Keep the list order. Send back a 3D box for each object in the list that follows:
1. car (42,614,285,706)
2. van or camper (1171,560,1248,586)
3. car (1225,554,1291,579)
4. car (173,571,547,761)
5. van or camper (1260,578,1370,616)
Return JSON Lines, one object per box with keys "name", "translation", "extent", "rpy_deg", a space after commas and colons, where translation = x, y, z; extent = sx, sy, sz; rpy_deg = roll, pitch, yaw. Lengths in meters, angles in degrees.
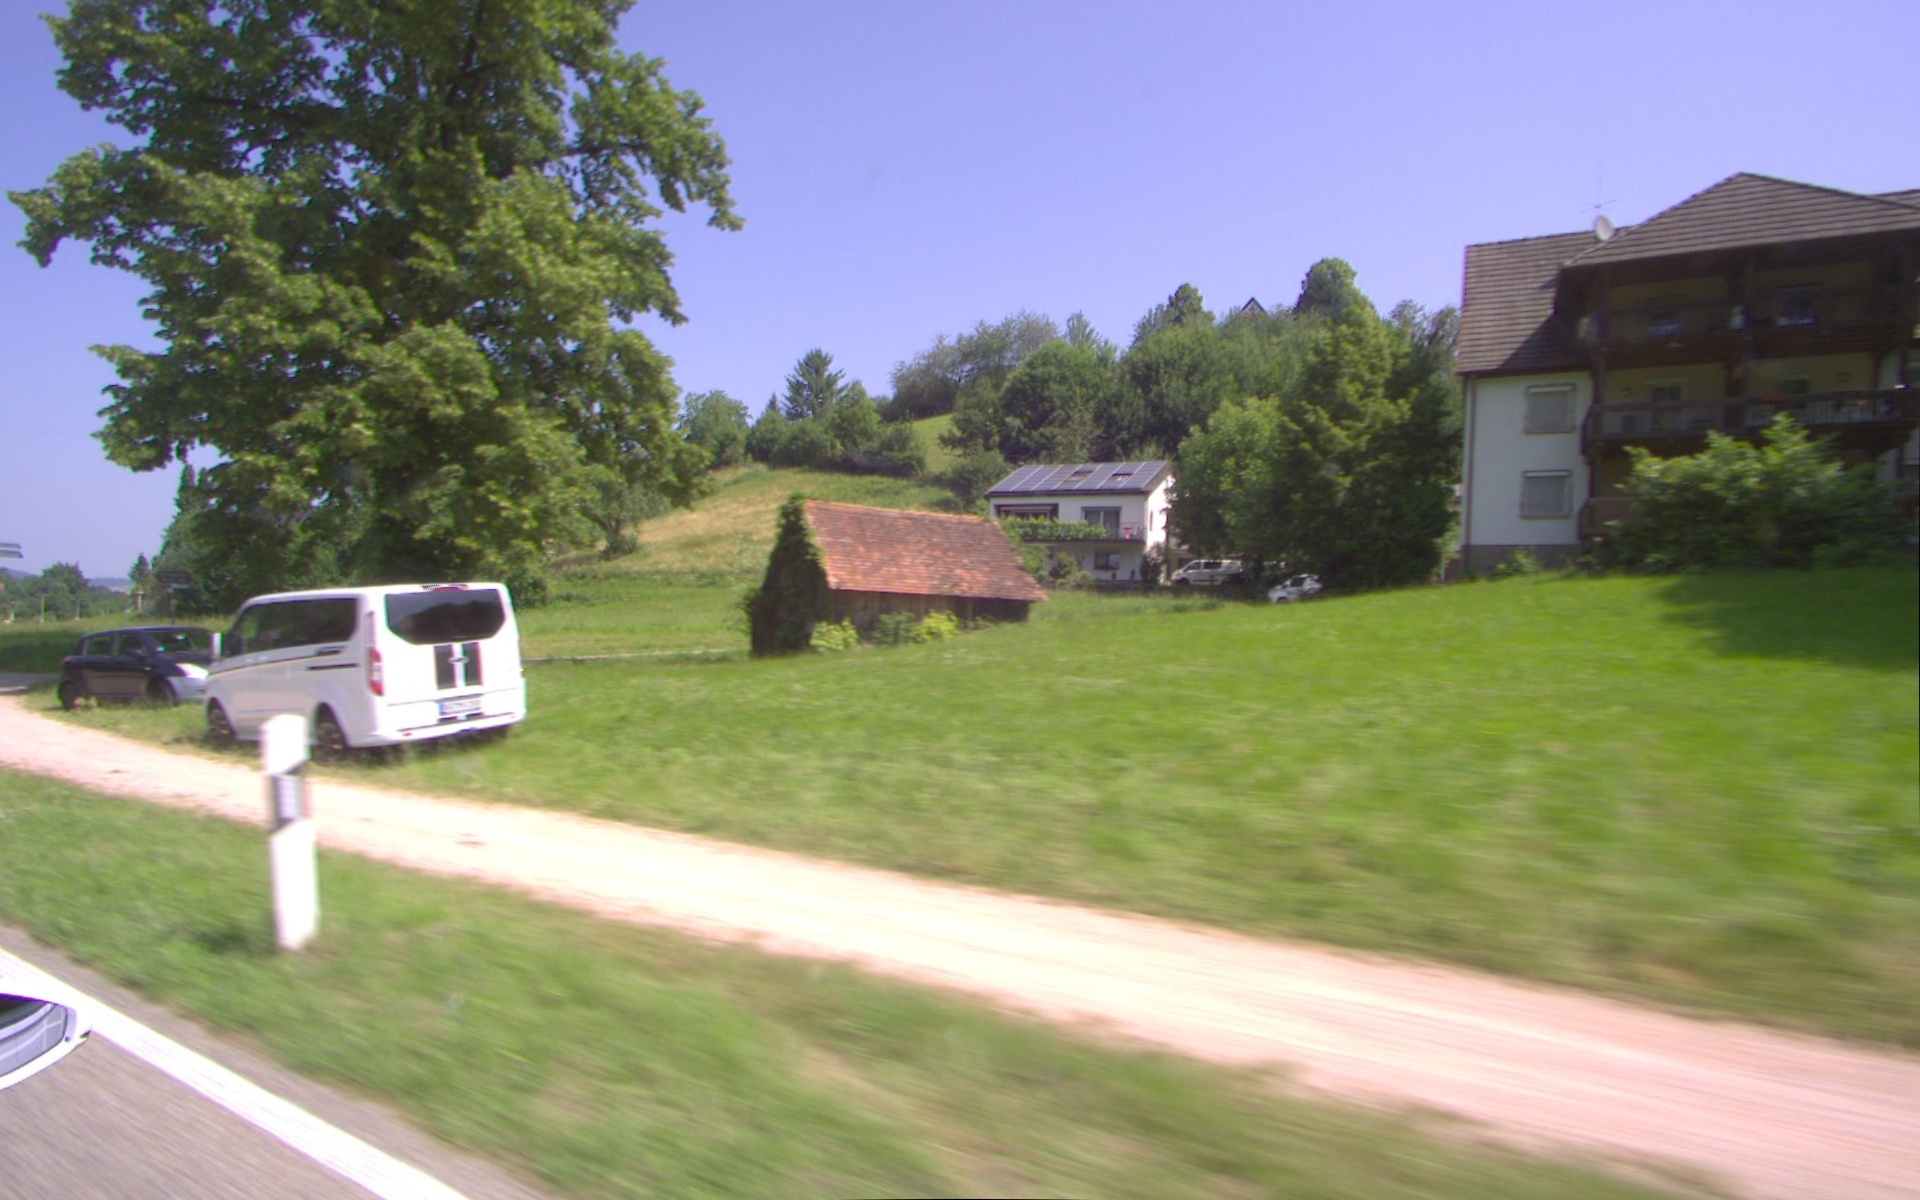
{"name": "car", "translation": [-14.165, 1.045, 17.845], "extent": [3.650, 1.476, 1.675], "rpy_deg": [-1, 0, 19]}
{"name": "van or camper", "translation": [17.338, -1.834, 69.706], "extent": [4.961, 1.663, 2.027], "rpy_deg": [0, -1, 23]}
{"name": "car", "translation": [21.412, -2.396, 71.937], "extent": [4.380, 1.635, 1.921], "rpy_deg": [0, -1, 23]}
{"name": "car", "translation": [-7.503, 0.669, 12.385], "extent": [4.800, 1.874, 1.993], "rpy_deg": [0, 4, 33]}
{"name": "van or camper", "translation": [19.844, -0.142, 56.035], "extent": [5.358, 1.975, 2.804], "rpy_deg": [0, -1, 32]}
